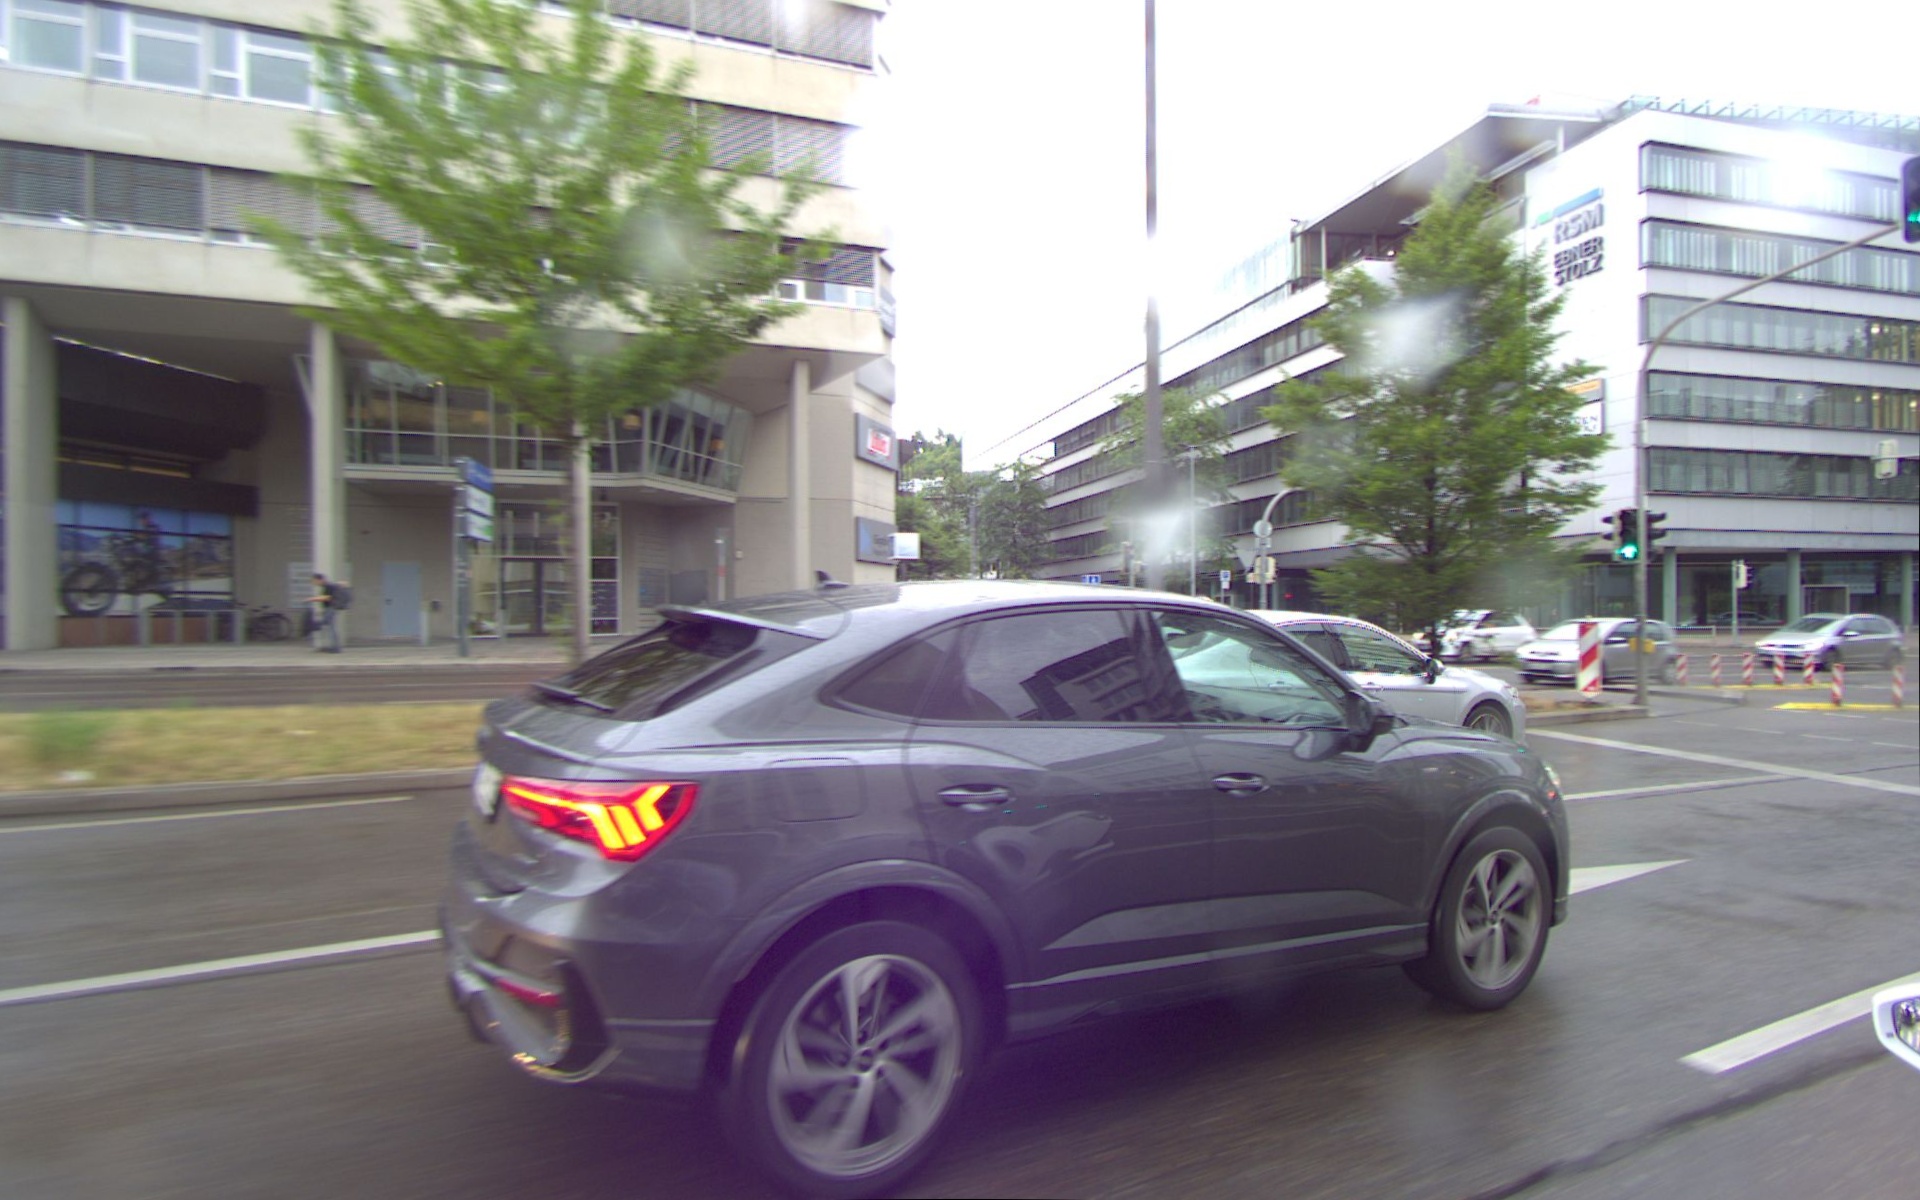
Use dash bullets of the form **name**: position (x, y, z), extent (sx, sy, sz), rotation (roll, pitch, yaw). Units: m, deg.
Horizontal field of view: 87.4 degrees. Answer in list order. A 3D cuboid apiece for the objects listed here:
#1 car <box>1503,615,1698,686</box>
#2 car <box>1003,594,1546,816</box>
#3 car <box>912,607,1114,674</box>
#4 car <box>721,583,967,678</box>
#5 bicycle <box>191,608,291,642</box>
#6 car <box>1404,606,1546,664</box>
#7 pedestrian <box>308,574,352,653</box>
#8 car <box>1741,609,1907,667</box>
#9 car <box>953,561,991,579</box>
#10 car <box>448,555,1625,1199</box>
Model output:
- **car**: position (13.990, 1.093, 21.955), extent (3.812, 1.404, 1.687), rotation (2, 0, -22)
- **car**: position (2.889, 0.779, 9.005), extent (4.716, 1.554, 1.858), rotation (1, 0, -28)
- **car**: position (1.258, 0.949, 23.398), extent (4.357, 1.397, 1.854), rotation (2, 0, -29)
- **car**: position (-2.075, 0.537, 18.137), extent (4.097, 1.556, 1.638), rotation (1, 0, -26)
- **bicycle**: position (-19.452, 0.696, 27.236), extent (2.171, 0.871, 0.455), rotation (2, 0, -37)
- **car**: position (15.287, 1.036, 29.828), extent (3.661, 1.592, 1.636), rotation (2, 0, -19)
- **pedestrian**: position (-13.778, 0.293, 21.973), extent (0.754, 1.706, 0.674), rotation (1, 0, -30)
- **car**: position (25.087, 1.098, 29.195), extent (4.017, 1.602, 1.644), rotation (1, 0, -15)
- **car**: position (1.354, -3.357, 113.186), extent (3.937, 1.808, 1.901), rotation (2, 0, -18)
- **car**: position (0.516, 0.713, 3.756), extent (4.223, 1.542, 1.639), rotation (1, 0, -31)
